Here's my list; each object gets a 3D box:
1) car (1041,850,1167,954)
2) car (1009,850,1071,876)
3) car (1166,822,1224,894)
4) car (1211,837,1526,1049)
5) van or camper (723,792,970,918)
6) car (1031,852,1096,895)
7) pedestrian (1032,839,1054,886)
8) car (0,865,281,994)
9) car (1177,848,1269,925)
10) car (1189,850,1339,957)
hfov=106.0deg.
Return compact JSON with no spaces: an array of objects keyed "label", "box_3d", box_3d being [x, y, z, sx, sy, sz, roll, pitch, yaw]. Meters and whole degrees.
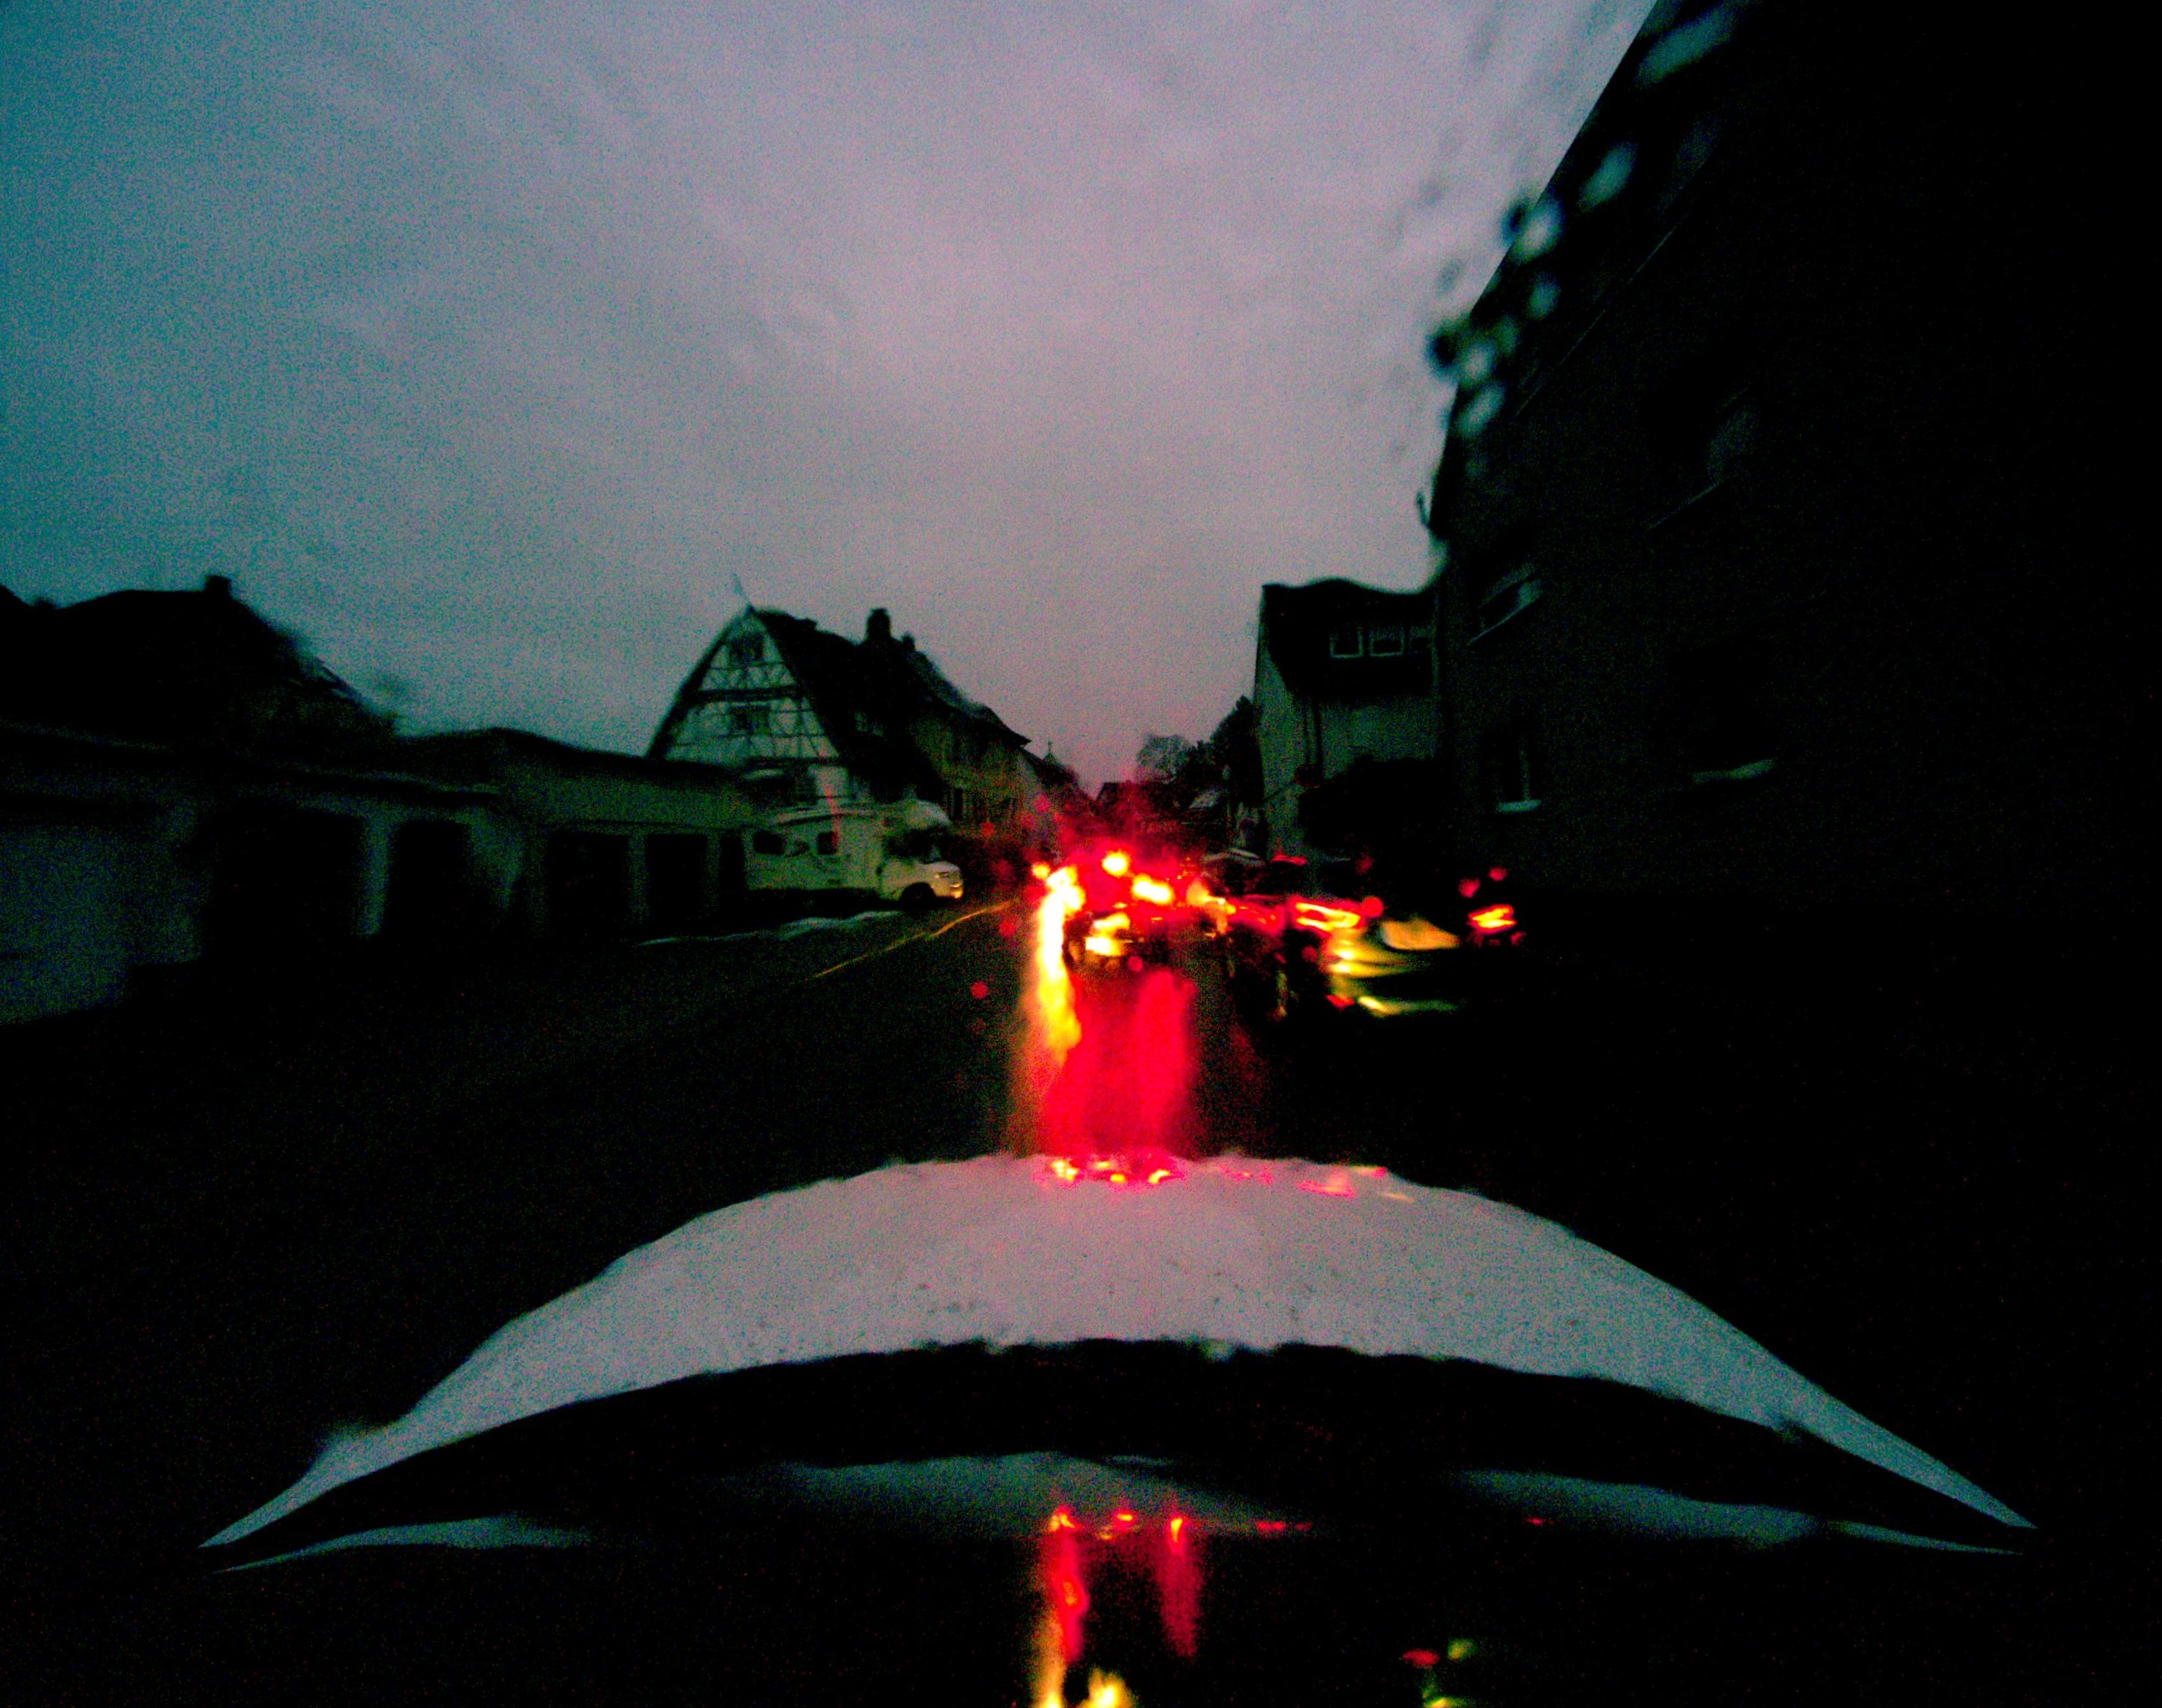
[{"label":"car","box_3d":[0.401,0.672,13.543,1.788,1.476,4.002,0,0,2]},{"label":"car","box_3d":[-2.489,0.519,49.653,3.486,1.507,1.697,-1,0,10]},{"label":"car","box_3d":[4.032,0.135,29.347,1.805,2.413,3.756,-1,0,5]},{"label":"car","box_3d":[2.438,0.651,8.009,1.791,1.534,4.002,-1,0,2]},{"label":"van or camper","box_3d":[-6.499,0.052,23.000,6.026,2.955,2.412,-4,0,8]},{"label":"car","box_3d":[-0.555,0.658,29.568,1.859,1.402,4.372,-1,0,5]},{"label":"pedestrian","box_3d":[-1.655,0.367,35.871,0.870,2.013,0.795,-1,0,2]},{"label":"car","box_3d":[-13.063,0.892,10.149,3.981,1.402,1.996,-1,0,-6]},{"label":"car","box_3d":[3.047,0.642,18.147,1.716,1.507,3.757,-1,0,5]},{"label":"car","box_3d":[2.699,0.658,12.791,1.672,1.395,3.754,-1,0,3]}]
